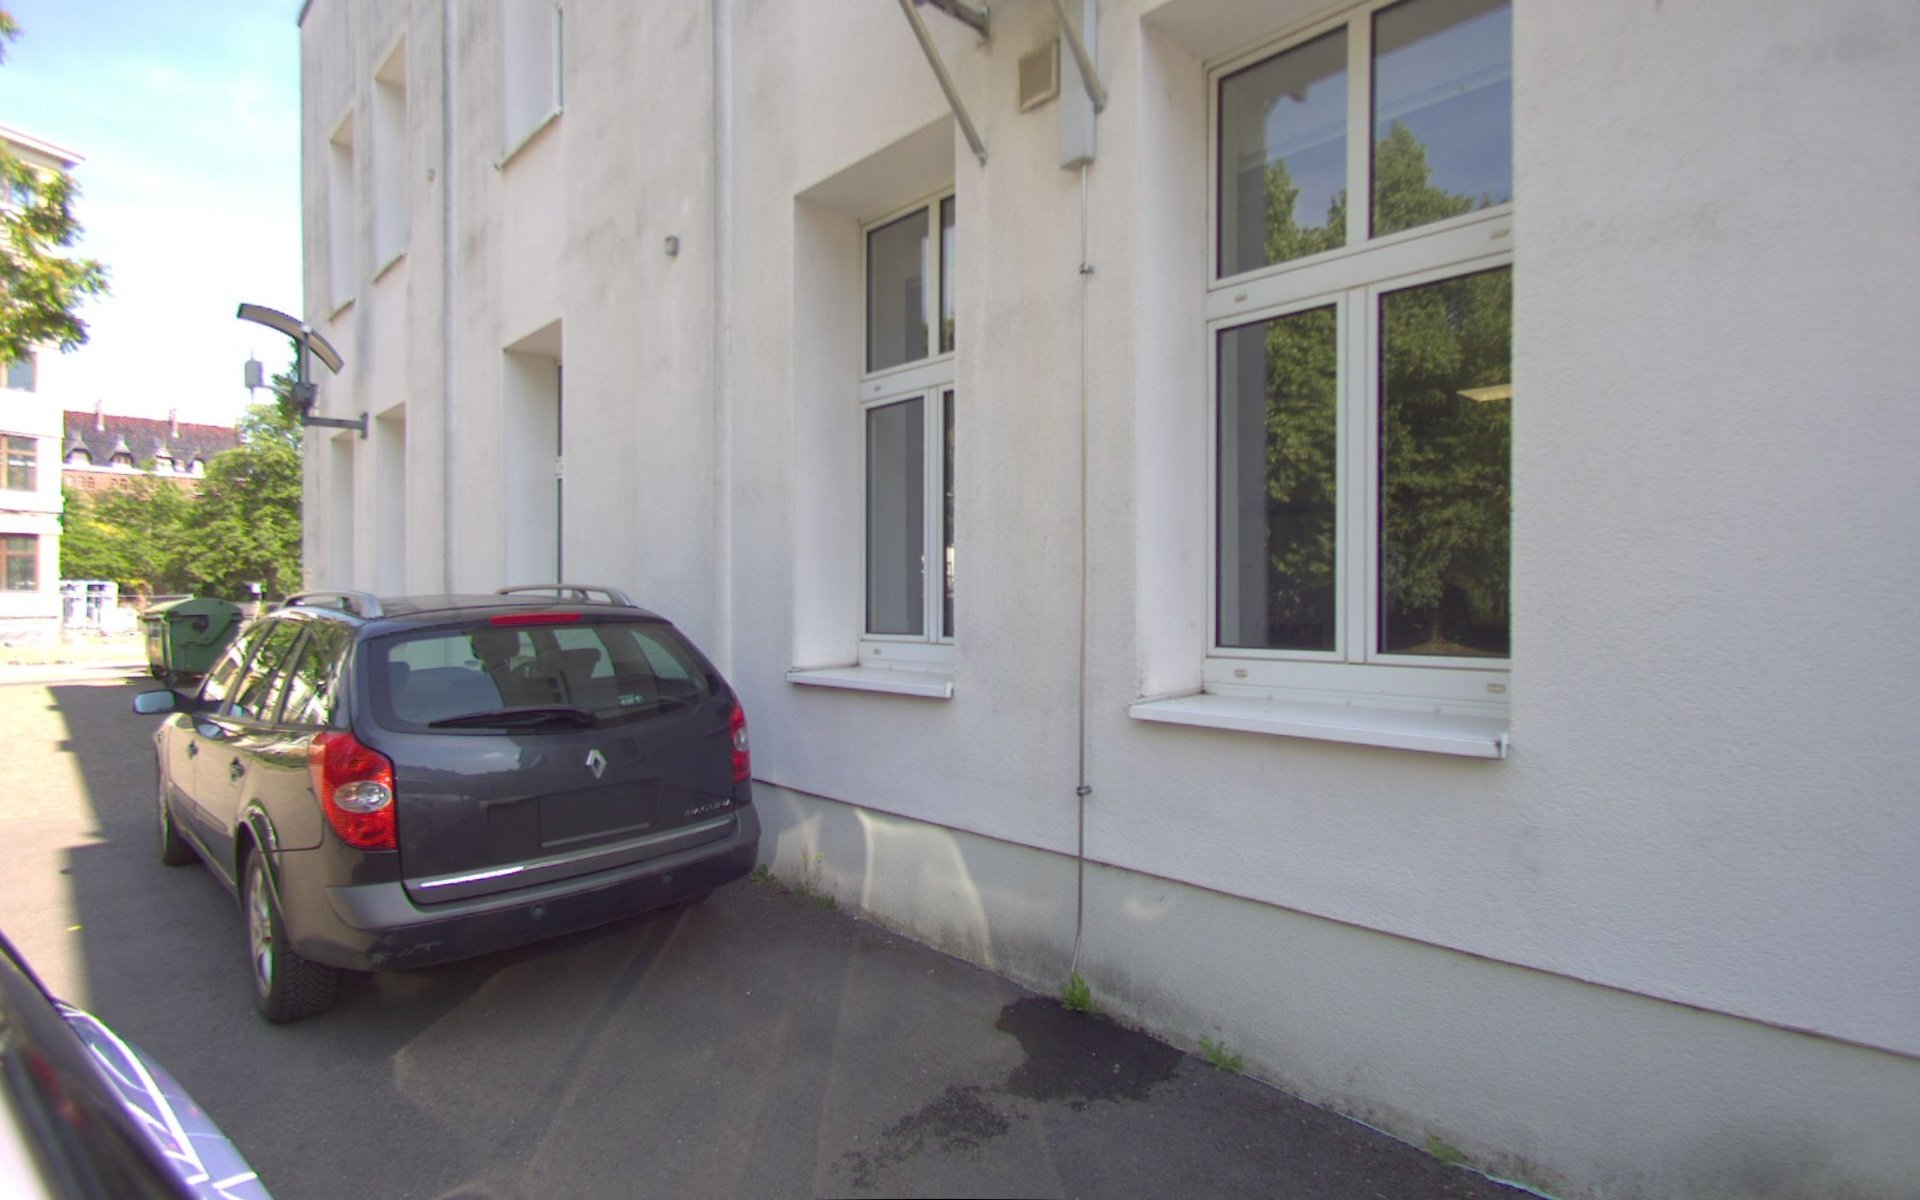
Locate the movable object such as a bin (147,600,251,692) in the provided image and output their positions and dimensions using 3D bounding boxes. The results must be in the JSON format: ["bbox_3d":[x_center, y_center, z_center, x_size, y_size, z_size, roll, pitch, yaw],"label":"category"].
[{"bbox_3d":[-12.687,0.731,16.859,1.230,1.442,1.351,1,-1,-44],"label":"movable object such as a bin"}]

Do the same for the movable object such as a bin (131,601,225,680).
[{"bbox_3d":[-15.533,0.773,20.101,1.338,1.493,1.231,-1,-1,41],"label":"movable object such as a bin"}]

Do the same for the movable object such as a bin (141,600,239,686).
[{"bbox_3d":[-13.689,0.732,17.994,1.230,1.442,1.367,1,-1,-44],"label":"movable object such as a bin"}]

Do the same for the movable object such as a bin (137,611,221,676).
[{"bbox_3d":[-17.715,0.968,23.000,1.226,1.407,1.409,0,-1,-25],"label":"movable object such as a bin"}]

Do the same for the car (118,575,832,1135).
[{"bbox_3d":[-2.693,0.628,4.922,1.815,1.452,4.434,-3,3,-44],"label":"car"}]

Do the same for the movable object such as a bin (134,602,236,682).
[{"bbox_3d":[-14.590,0.762,19.054,1.221,1.442,1.233,-1,-1,36],"label":"movable object such as a bin"}]

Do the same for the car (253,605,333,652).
[{"bbox_3d":[-27.618,1.130,42.062,1.888,1.794,4.326,-2,0,-21],"label":"car"}]
